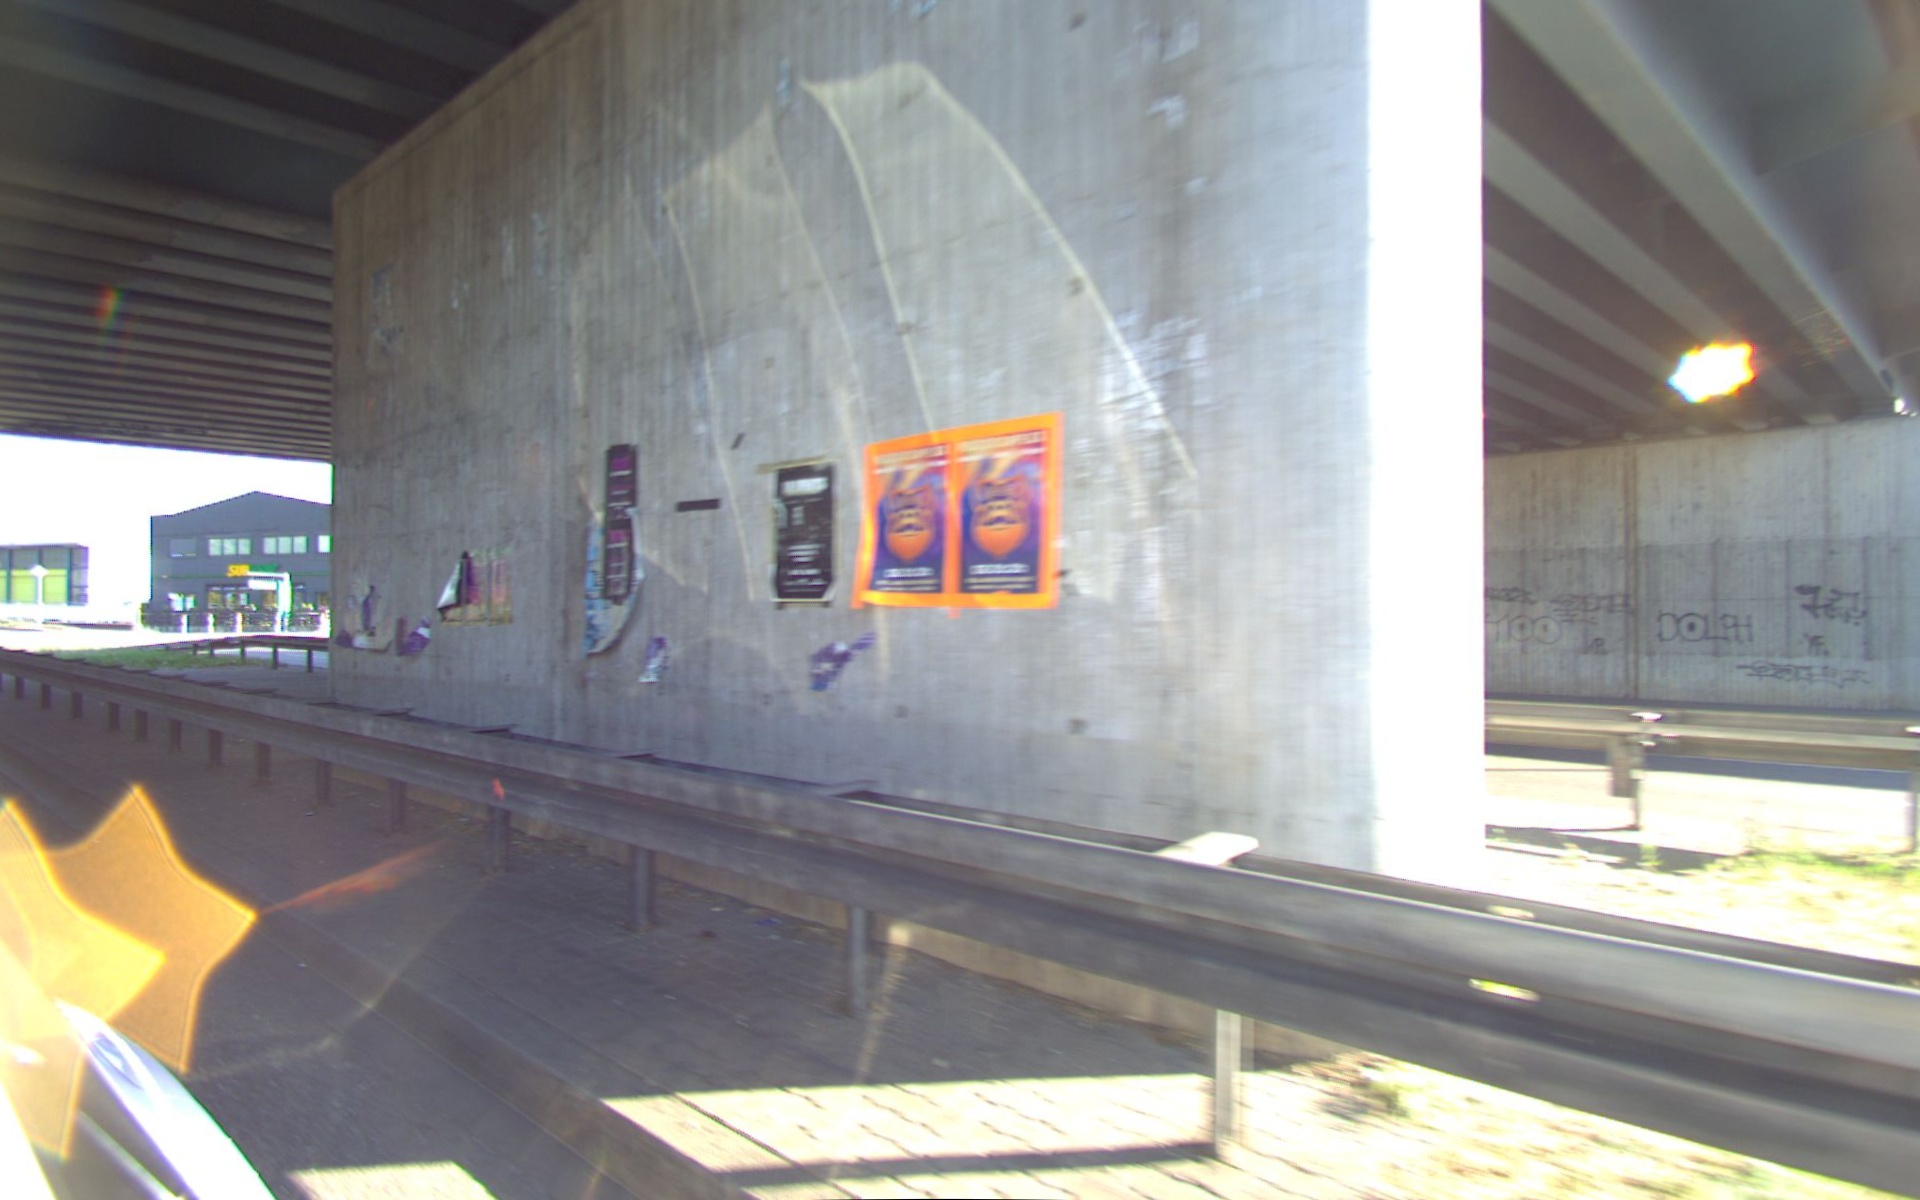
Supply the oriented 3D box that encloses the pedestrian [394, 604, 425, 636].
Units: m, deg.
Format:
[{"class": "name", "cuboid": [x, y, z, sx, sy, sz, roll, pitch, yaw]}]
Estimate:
[{"class": "pedestrian", "cuboid": [-32.867, 1.193, 60.389, 1.083, 1.849, 1.260, 0, 0, 35]}]
